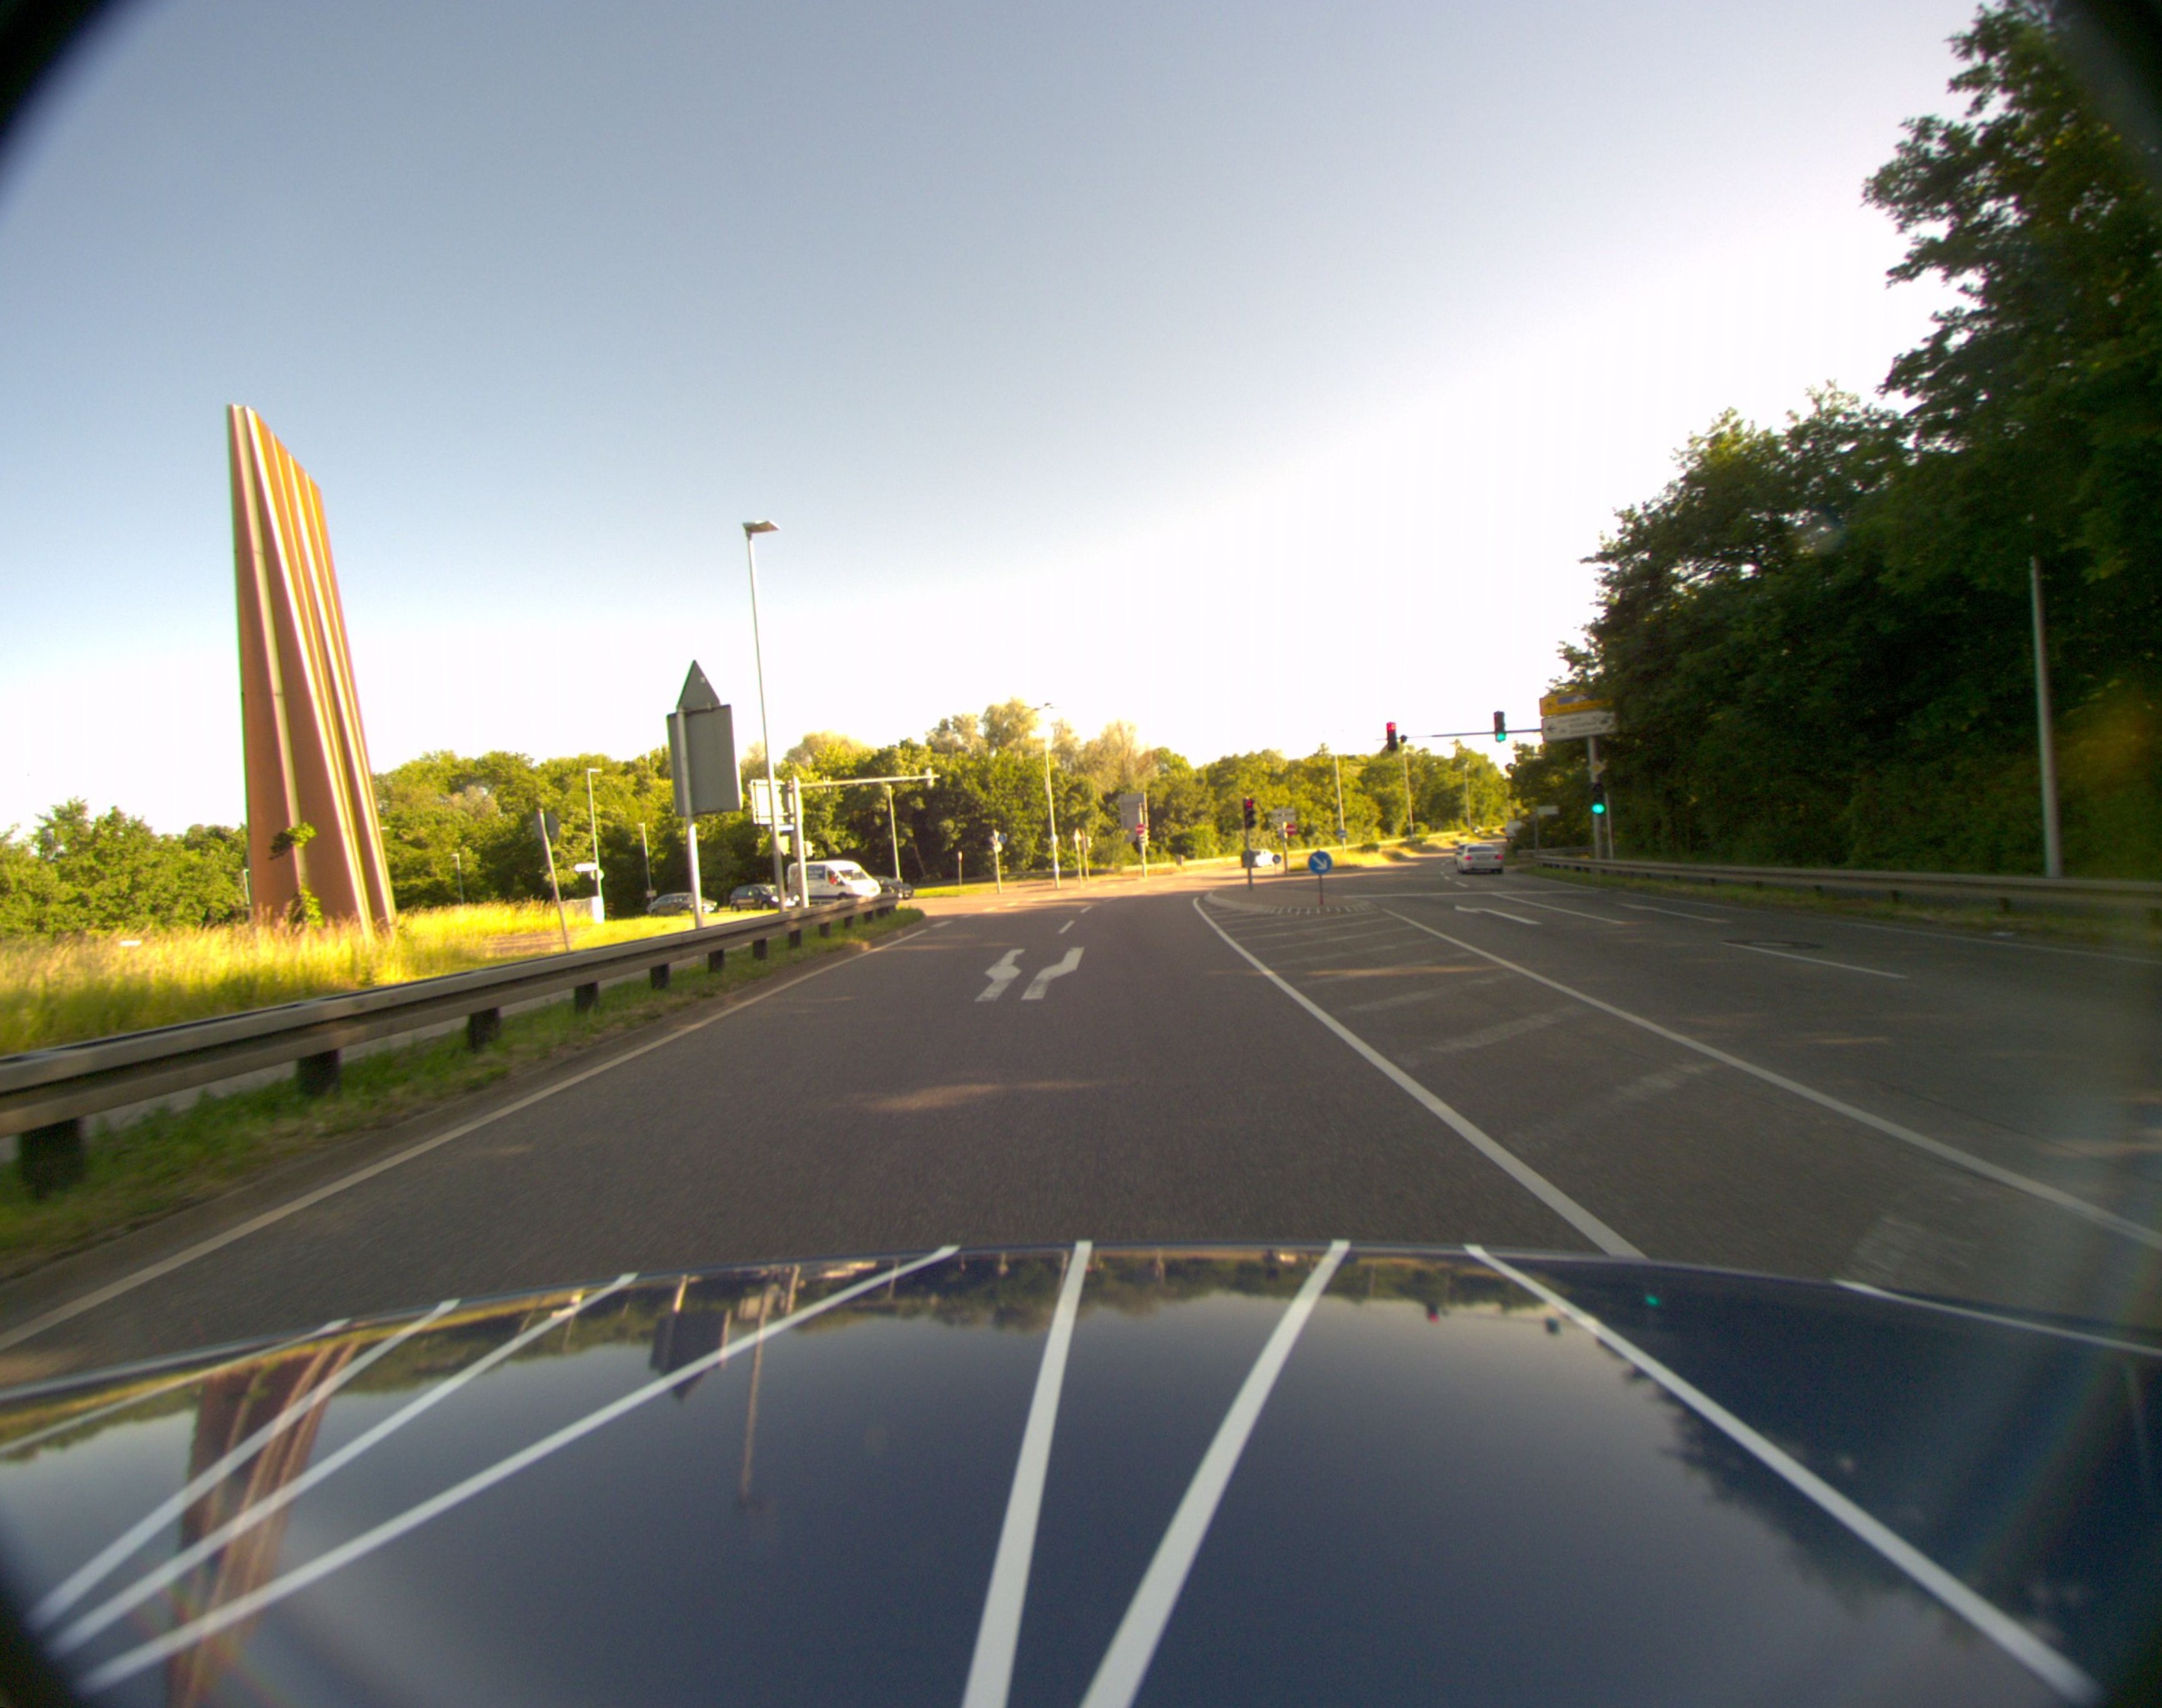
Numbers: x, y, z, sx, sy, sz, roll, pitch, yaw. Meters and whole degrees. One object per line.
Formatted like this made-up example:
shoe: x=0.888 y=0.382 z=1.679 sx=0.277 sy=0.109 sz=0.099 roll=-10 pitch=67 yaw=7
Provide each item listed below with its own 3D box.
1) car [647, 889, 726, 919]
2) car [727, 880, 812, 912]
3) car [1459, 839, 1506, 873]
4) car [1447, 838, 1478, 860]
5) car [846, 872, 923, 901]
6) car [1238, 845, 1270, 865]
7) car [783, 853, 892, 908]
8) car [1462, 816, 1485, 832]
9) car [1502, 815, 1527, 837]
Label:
car: x=-21.131 y=2.677 z=40.645 sx=4.279 sy=1.383 sz=1.651 roll=-3 pitch=1 yaw=30
car: x=-15.389 y=2.074 z=37.479 sx=3.978 sy=1.405 sz=1.848 roll=-3 pitch=0 yaw=32
car: x=20.083 y=0.069 z=38.139 sx=1.849 sy=1.479 sz=4.636 roll=-3 pitch=0 yaw=26
car: x=26.391 y=-0.380 z=52.713 sx=1.702 sy=1.382 sz=4.534 roll=-1 pitch=1 yaw=24
car: x=-11.206 y=1.849 z=43.199 sx=4.078 sy=1.431 sz=1.772 roll=-3 pitch=0 yaw=29
car: x=14.382 y=0.068 z=63.015 sx=1.761 sy=1.428 sz=4.336 roll=-3 pitch=0 yaw=24
car: x=-12.923 y=1.407 z=40.160 sx=5.692 sy=2.484 sz=2.118 roll=-5 pitch=0 yaw=31
car: x=53.855 y=-4.123 z=104.096 sx=1.995 sy=2.002 sz=4.007 roll=-3 pitch=1 yaw=38
car: x=54.031 y=-3.448 z=94.842 sx=2.265 sy=2.538 sz=6.407 roll=-1 pitch=1 yaw=26
